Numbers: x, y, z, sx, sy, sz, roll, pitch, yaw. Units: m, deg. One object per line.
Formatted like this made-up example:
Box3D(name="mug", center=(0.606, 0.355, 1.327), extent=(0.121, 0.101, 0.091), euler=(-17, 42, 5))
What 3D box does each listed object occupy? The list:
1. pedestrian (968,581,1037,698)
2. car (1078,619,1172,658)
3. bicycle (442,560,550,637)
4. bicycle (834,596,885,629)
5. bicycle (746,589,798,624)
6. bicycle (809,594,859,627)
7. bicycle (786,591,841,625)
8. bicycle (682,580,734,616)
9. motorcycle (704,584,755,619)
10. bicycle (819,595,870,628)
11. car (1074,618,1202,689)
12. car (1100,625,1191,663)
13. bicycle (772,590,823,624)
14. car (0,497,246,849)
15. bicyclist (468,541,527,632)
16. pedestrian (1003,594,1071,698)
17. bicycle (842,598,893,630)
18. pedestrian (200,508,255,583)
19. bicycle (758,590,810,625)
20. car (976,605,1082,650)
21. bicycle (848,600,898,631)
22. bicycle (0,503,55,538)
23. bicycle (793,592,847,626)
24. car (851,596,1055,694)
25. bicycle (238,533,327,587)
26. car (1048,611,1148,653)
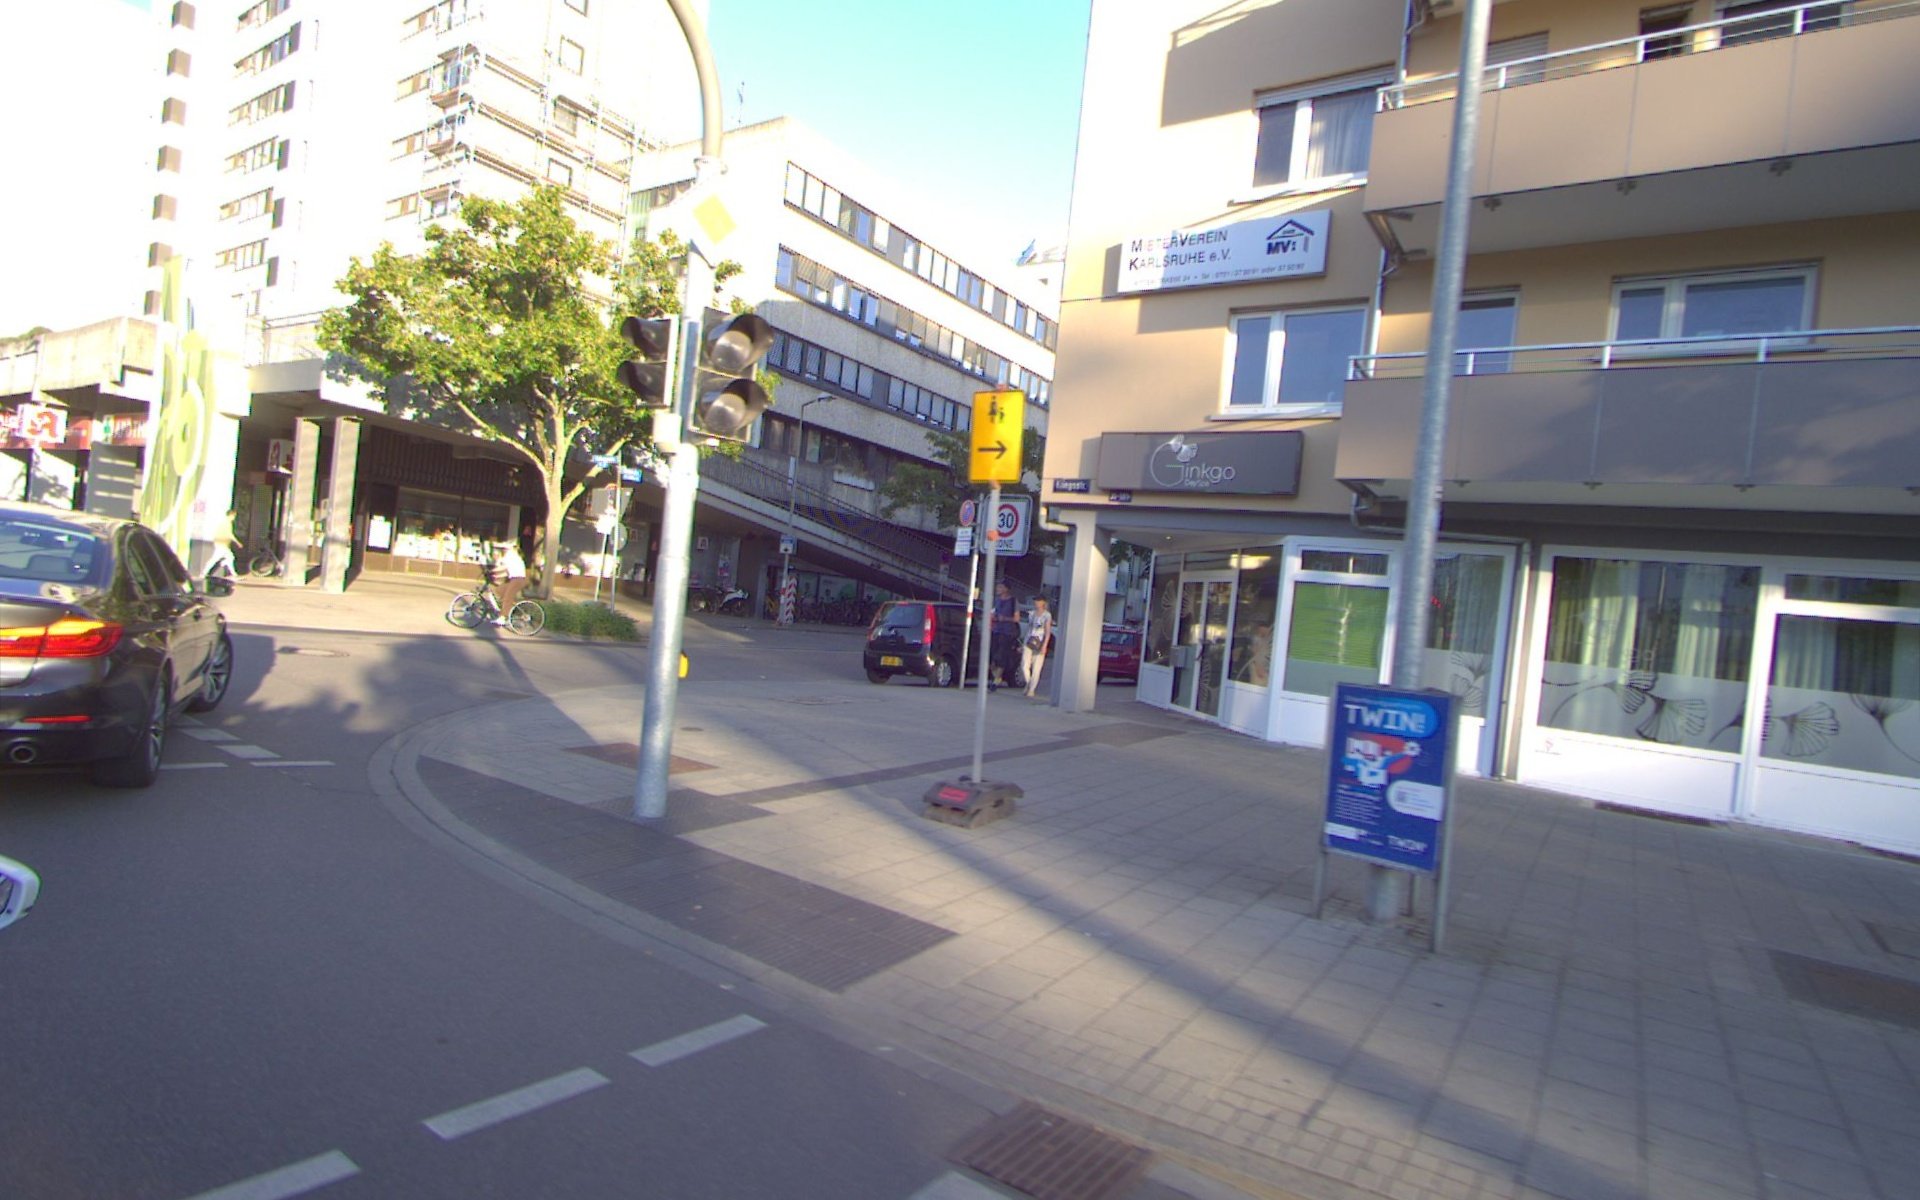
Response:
Box3D(name="pedestrian", center=(0.709, 0.663, 16.777), extent=(0.637, 1.851, 0.835), euler=(7, 1, 32))
Box3D(name="car", center=(7.734, 1.797, 47.304), extent=(3.991, 1.605, 1.700), euler=(2, -1, 34))
Box3D(name="bicycle", center=(-9.293, -0.024, 20.196), extent=(1.758, 1.326, 0.651), euler=(6, 1, -14))
Box3D(name="bicycle", center=(-4.124, 0.512, 41.278), extent=(1.943, 1.086, 0.583), euler=(6, -3, 27))
Box3D(name="bicycle", center=(-6.931, 0.238, 37.086), extent=(1.947, 1.086, 0.581), euler=(5, -3, 36))
Box3D(name="bicycle", center=(-5.078, 0.426, 40.506), extent=(1.944, 1.086, 0.582), euler=(5, -3, 30))
Box3D(name="bicycle", center=(-5.768, 0.322, 39.665), extent=(1.939, 1.086, 0.584), euler=(7, -3, 14))
Box3D(name="bicycle", center=(-9.028, -0.065, 35.960), extent=(1.947, 1.086, 0.581), euler=(5, -3, 36))
Box3D(name="motorcycle", center=(-8.325, 0.050, 36.299), extent=(1.848, 1.086, 0.646), euler=(5, -3, 36))
Box3D(name="bicycle", center=(-4.704, 0.464, 40.937), extent=(1.944, 1.086, 0.582), euler=(5, -3, 30))
Box3D(name="car", center=(4.659, 1.359, 25.869), extent=(1.679, 1.605, 4.040), euler=(3, -1, 34))
Box3D(name="car", center=(9.053, 2.124, 49.262), extent=(3.991, 1.605, 1.700), euler=(2, -1, 34))
Box3D(name="bicycle", center=(-6.177, 0.277, 38.118), extent=(1.947, 1.086, 0.581), euler=(5, -3, 36))
Box3D(name="car", center=(-5.785, 0.162, 6.092), extent=(1.919, 1.499, 4.484), euler=(9, -1, -31))
Box3D(name="bicyclist", center=(-9.272, -0.265, 20.198), extent=(0.807, 1.702, 0.651), euler=(6, 1, -14))
Box3D(name="pedestrian", center=(1.273, 0.754, 16.529), extent=(0.637, 1.606, 0.835), euler=(7, 1, 32))
Box3D(name="bicycle", center=(-3.866, 0.574, 41.840), extent=(1.941, 1.086, 0.583), euler=(6, -3, 22))
Box3D(name="pedestrian", center=(-18.015, -1.340, 24.743), extent=(0.638, 1.733, 0.834), euler=(7, 1, 37))
Box3D(name="bicycle", center=(-6.611, 0.275, 37.735), extent=(1.947, 1.086, 0.581), euler=(5, -3, 36))
Box3D(name="car", center=(2.816, 1.109, 41.267), extent=(3.991, 1.605, 1.700), euler=(2, -1, 34))
Box3D(name="bicycle", center=(-3.677, 0.653, 42.457), extent=(1.941, 1.086, 0.583), euler=(6, -3, 22))
Box3D(name="bicycle", center=(-39.902, -3.394, 42.687), extent=(0.681, 1.161, 2.017), euler=(5, -4, 39))
Box3D(name="bicycle", center=(-5.569, 0.354, 40.103), extent=(1.939, 1.086, 0.584), euler=(7, -3, 10))
Box3D(name="car", center=(-0.028, 0.848, 18.991), extent=(1.681, 1.605, 4.036), euler=(3, -1, 38))
Box3D(name="bicycle", center=(-17.983, -1.054, 26.715), extent=(1.984, 1.162, 0.692), euler=(7, -3, 15))
Box3D(name="car", center=(6.121, 1.404, 44.654), extent=(3.991, 1.605, 1.700), euler=(2, -1, 34))
